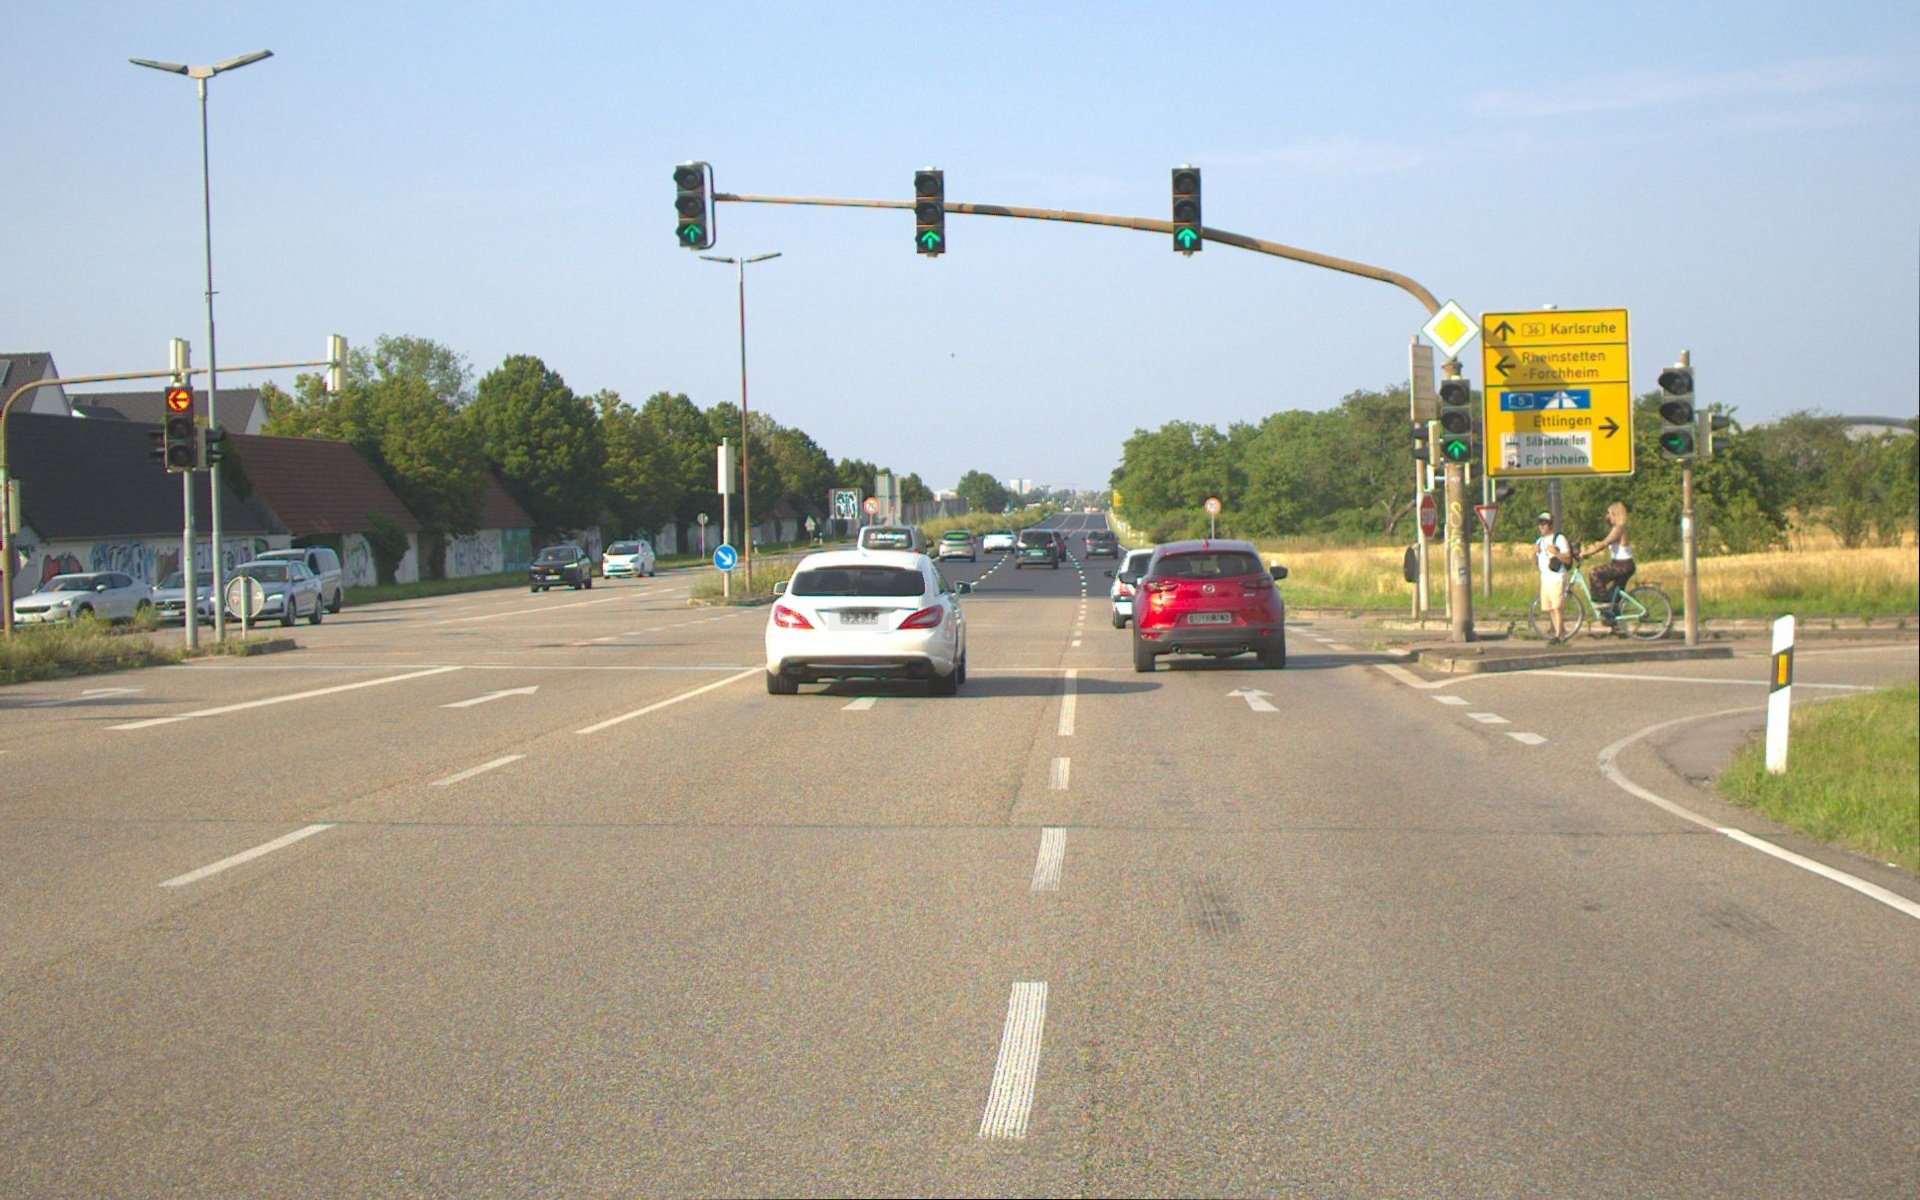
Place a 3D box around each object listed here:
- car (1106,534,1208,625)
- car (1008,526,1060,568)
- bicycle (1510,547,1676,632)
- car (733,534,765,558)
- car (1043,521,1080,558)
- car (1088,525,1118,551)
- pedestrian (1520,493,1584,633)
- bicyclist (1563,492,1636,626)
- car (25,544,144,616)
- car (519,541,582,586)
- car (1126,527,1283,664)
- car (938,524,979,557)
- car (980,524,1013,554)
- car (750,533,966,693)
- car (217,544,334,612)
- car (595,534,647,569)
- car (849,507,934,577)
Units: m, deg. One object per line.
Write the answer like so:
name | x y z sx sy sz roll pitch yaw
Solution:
car | 3.511 -0.390 61.156 1.730 1.525 3.473 1 1 4
car | 3.079 -2.185 141.902 1.839 1.678 4.000 1 1 5
bicycle | 8.402 -0.146 45.712 2.096 1.085 0.807 1 1 6
car | -13.556 -3.487 221.192 1.754 1.525 4.000 1 1 1
car | 4.829 -2.880 163.730 1.711 1.730 3.867 1 1 2
car | 7.190 -3.118 172.144 1.439 1.279 2.914 1 1 3
pedestrian | 7.483 -0.479 43.489 0.710 1.745 0.862 1 1 5
bicyclist | 8.493 -0.551 45.678 0.848 1.749 0.798 1 1 4
car | -20.732 -0.496 81.532 1.889 1.612 3.857 1 1 -1
car | -14.561 -1.305 122.355 1.822 1.503 3.798 1 1 -1
car | 2.889 -0.091 41.088 1.754 1.511 4.000 -1 1 3
car | -0.051 -2.823 162.676 1.717 1.487 3.584 1 1 3
car | 2.065 -3.439 194.518 1.776 1.660 3.664 1 1 -1
car | -0.970 0.084 34.826 1.894 1.503 4.000 0 1 2
car | -15.232 -0.511 76.663 1.783 1.432 4.357 1 1 -1
car | -15.289 -2.202 155.382 1.993 1.492 4.000 1 1 -1
car | -1.921 -1.663 97.751 2.025 1.885 4.958 1 2 3
